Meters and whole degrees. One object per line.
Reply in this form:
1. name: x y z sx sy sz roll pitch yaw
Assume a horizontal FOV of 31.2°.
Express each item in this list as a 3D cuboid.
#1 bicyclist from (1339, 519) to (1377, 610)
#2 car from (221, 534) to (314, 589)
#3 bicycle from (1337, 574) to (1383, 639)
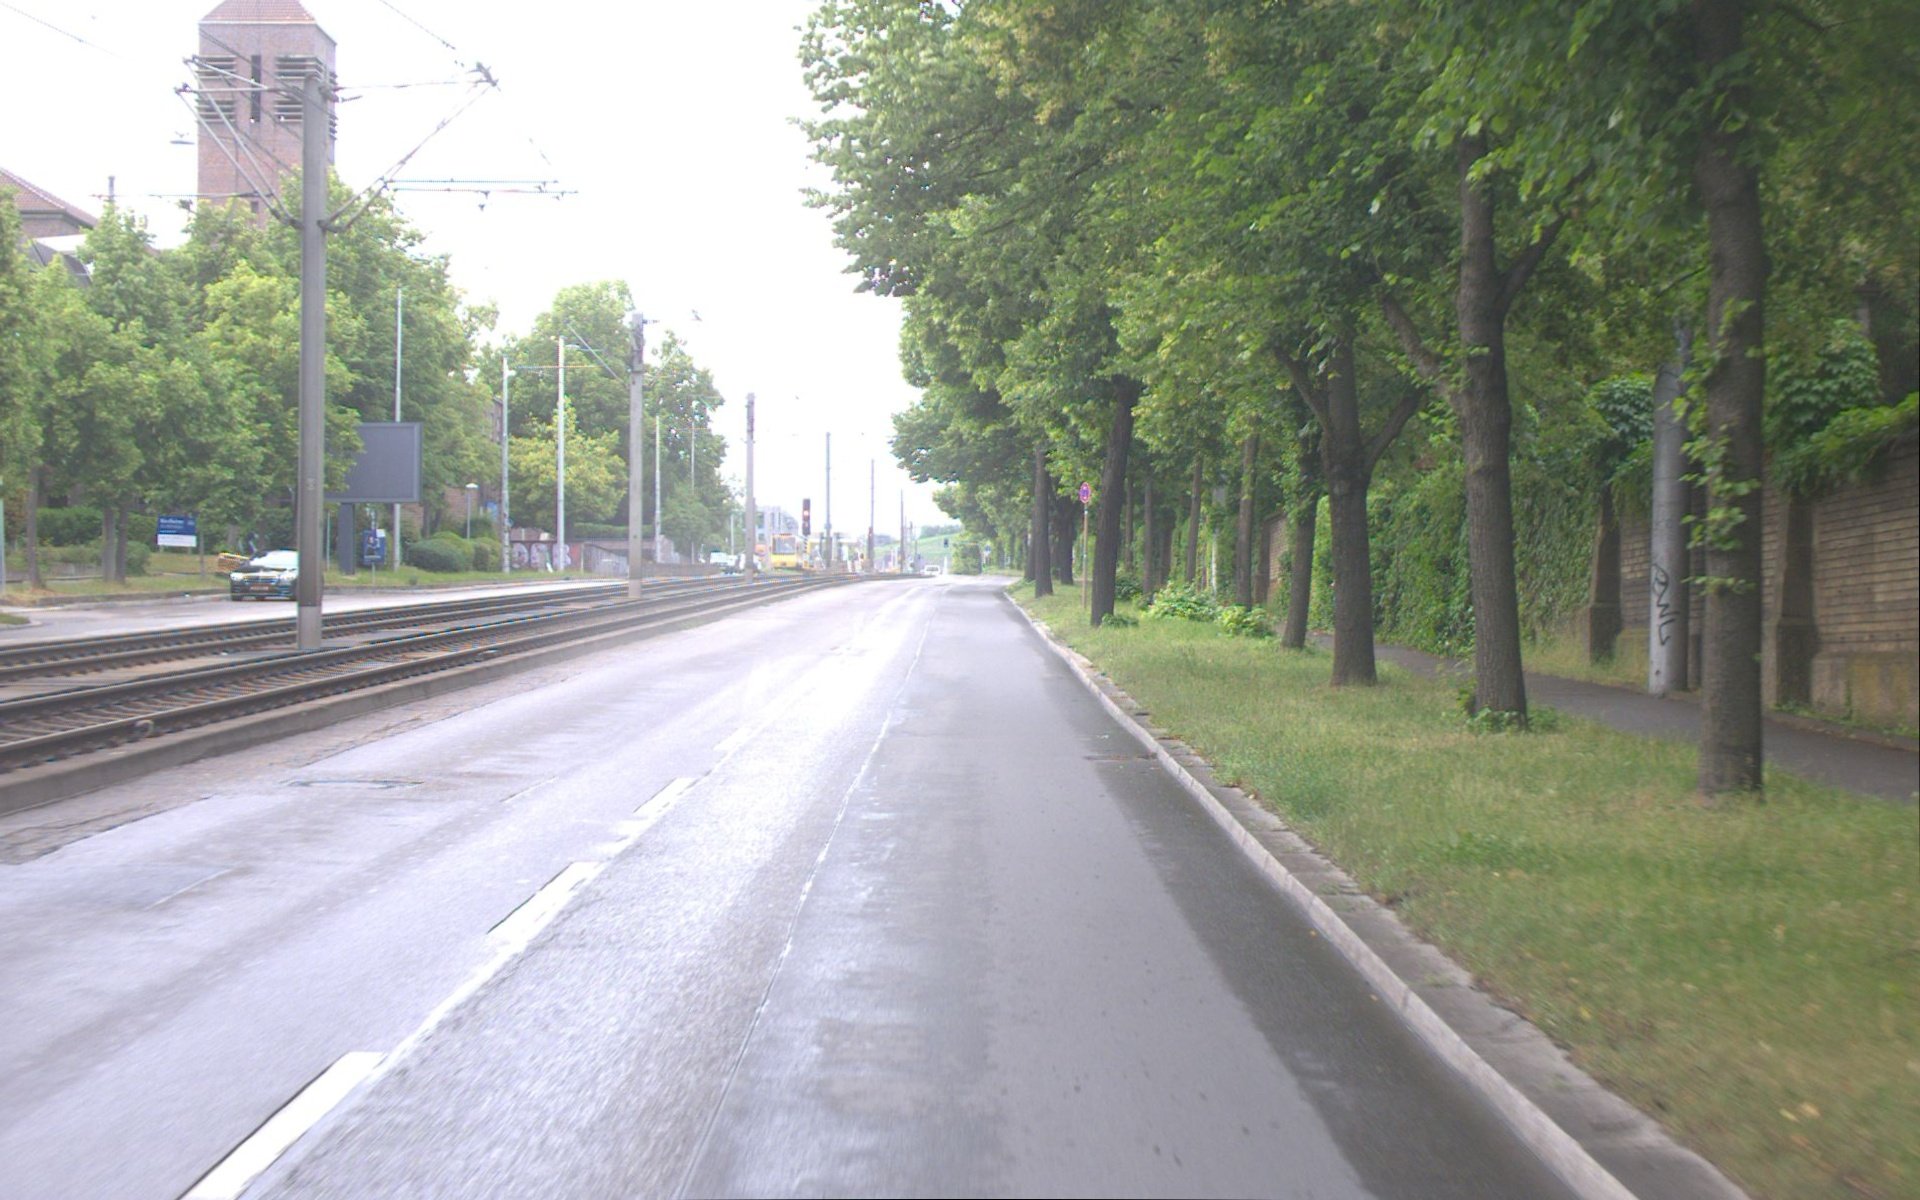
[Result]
1. bicyclist: 6.091 -0.548 52.606 0.535 1.385 0.666 0 1 3
2. car: -19.736 -1.106 98.154 1.794 1.525 4.622 0 1 -1
3. bicycle: 6.081 0.084 52.363 0.543 0.945 2.549 0 1 3
